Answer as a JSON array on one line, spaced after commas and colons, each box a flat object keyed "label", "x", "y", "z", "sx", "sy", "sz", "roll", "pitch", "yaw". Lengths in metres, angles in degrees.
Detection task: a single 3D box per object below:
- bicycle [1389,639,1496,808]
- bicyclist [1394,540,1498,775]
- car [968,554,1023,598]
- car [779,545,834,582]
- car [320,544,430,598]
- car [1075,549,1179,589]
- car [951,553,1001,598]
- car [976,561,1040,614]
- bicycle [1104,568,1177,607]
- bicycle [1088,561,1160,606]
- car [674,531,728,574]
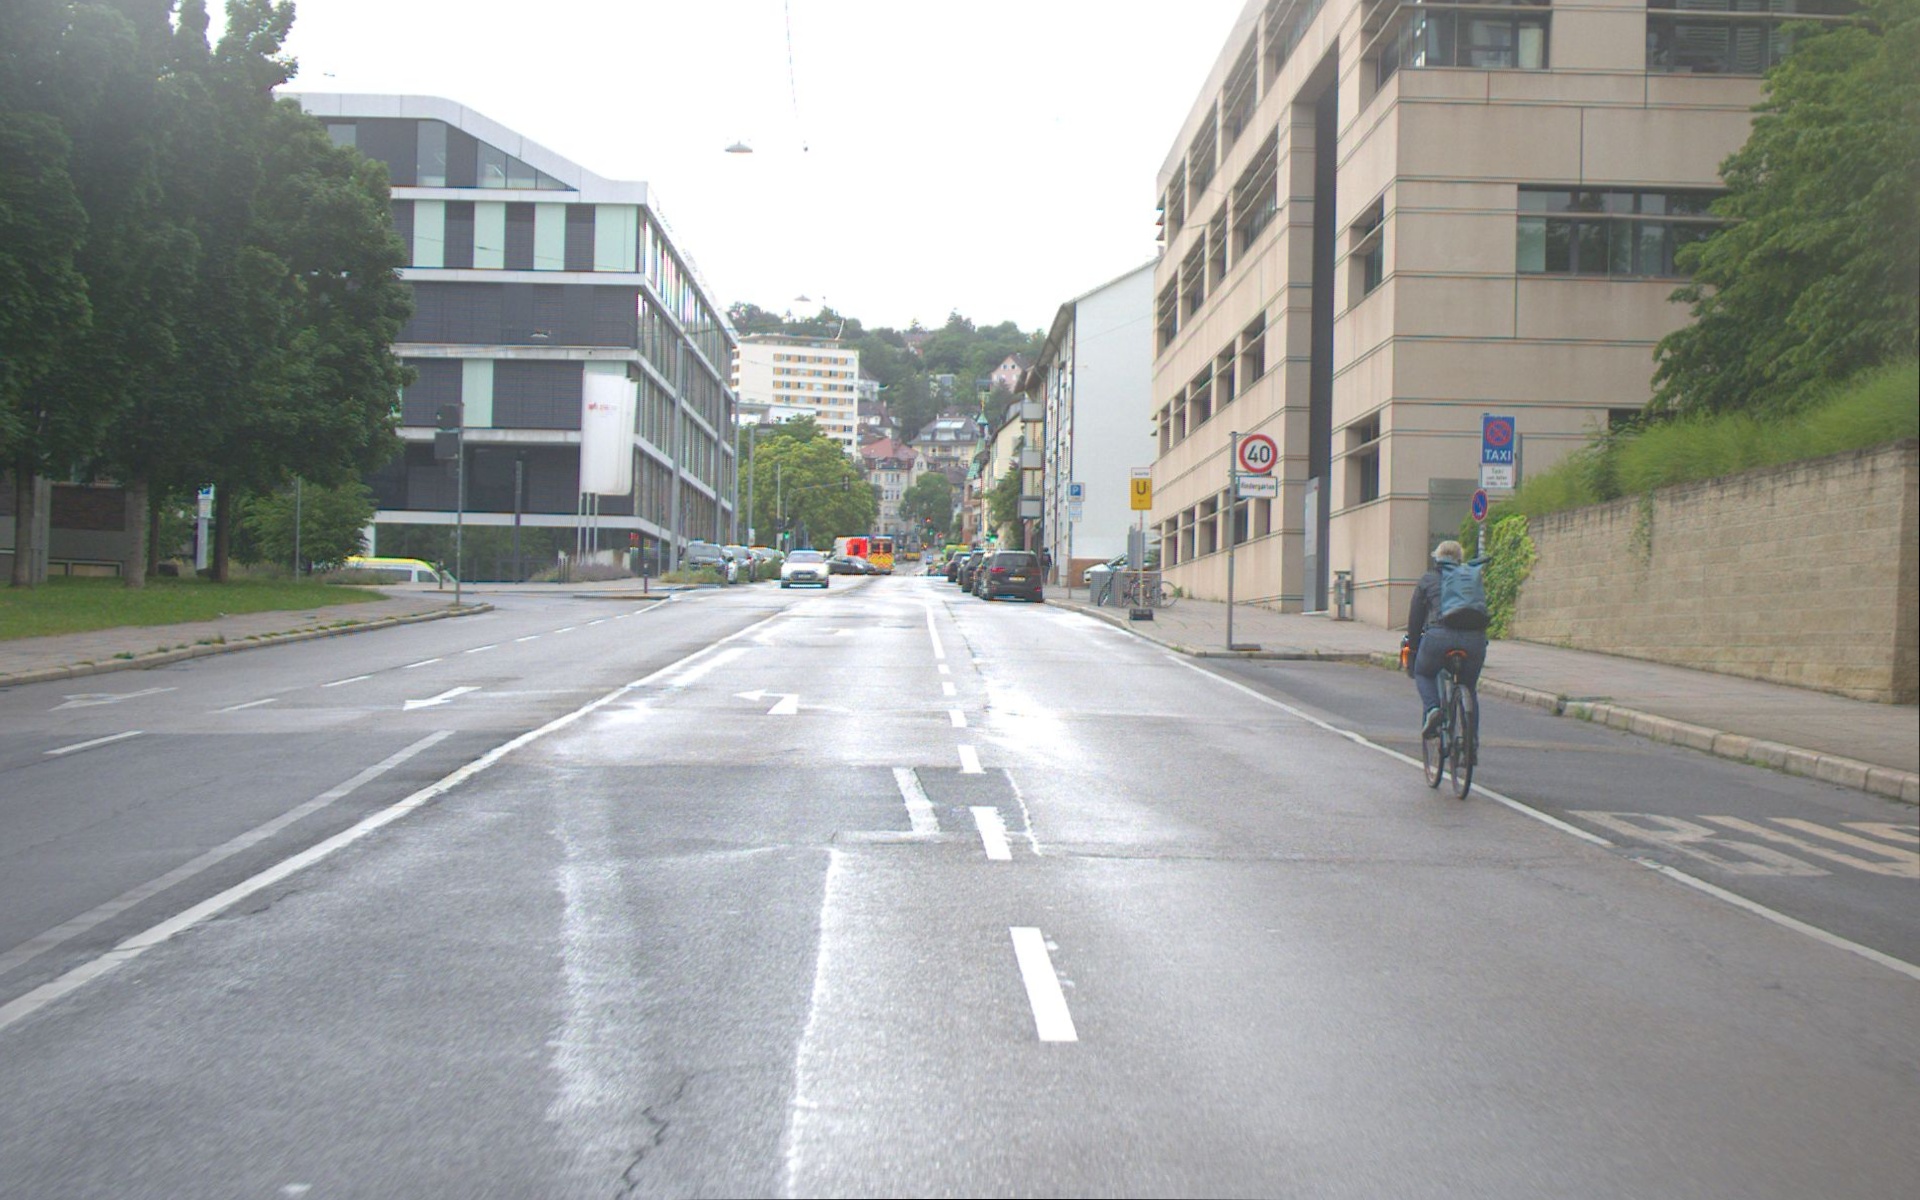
[{"label": "bicycle", "x": 3.031, "y": 0.759, "z": 21.690, "sx": 0.447, "sy": 0.960, "sz": 1.690, "roll": 2, "pitch": 1, "yaw": 1}, {"label": "bicyclist", "x": 3.049, "y": 0.354, "z": 21.613, "sx": 0.484, "sy": 1.428, "sz": 0.930, "roll": 2, "pitch": 0, "yaw": 1}, {"label": "car", "x": 1.289, "y": -0.887, "z": 127.280, "sx": 1.743, "sy": 1.528, "sz": 4.320, "roll": 3, "pitch": 0, "yaw": -2}, {"label": "car", "x": -6.298, "y": -1.517, "z": 141.782, "sx": 1.881, "sy": 1.486, "sz": 5.220, "roll": 0, "pitch": 1, "yaw": 2}, {"label": "car", "x": -25.702, "y": -1.270, "z": 151.263, "sx": 4.589, "sy": 2.167, "sz": 1.932, "roll": 2, "pitch": 0, "yaw": -6}, {"label": "car", "x": 7.411, "y": -1.372, "z": 152.581, "sx": 4.437, "sy": 1.707, "sz": 1.905, "roll": -1, "pitch": 0, "yaw": -1}, {"label": "car", "x": 0.658, "y": -1.024, "z": 143.934, "sx": 1.935, "sy": 1.744, "sz": 4.797, "roll": 2, "pitch": 0, "yaw": -1}, {"label": "car", "x": 1.547, "y": -0.419, "z": 111.224, "sx": 1.771, "sy": 1.598, "sz": 4.395, "roll": 2, "pitch": 0, "yaw": -2}, {"label": "bicycle", "x": 4.577, "y": -0.316, "z": 87.348, "sx": 1.758, "sy": 0.950, "sz": 0.660, "roll": 2, "pitch": 0, "yaw": -4}, {"label": "bicycle", "x": 4.211, "y": -0.430, "z": 88.324, "sx": 1.729, "sy": 1.115, "sz": 0.660, "roll": 2, "pitch": 0, "yaw": -6}, {"label": "car", "x": -10.448, "y": -1.912, "z": 139.055, "sx": 1.849, "sy": 1.612, "sz": 4.491, "roll": 2, "pitch": 0, "yaw": -1}]
